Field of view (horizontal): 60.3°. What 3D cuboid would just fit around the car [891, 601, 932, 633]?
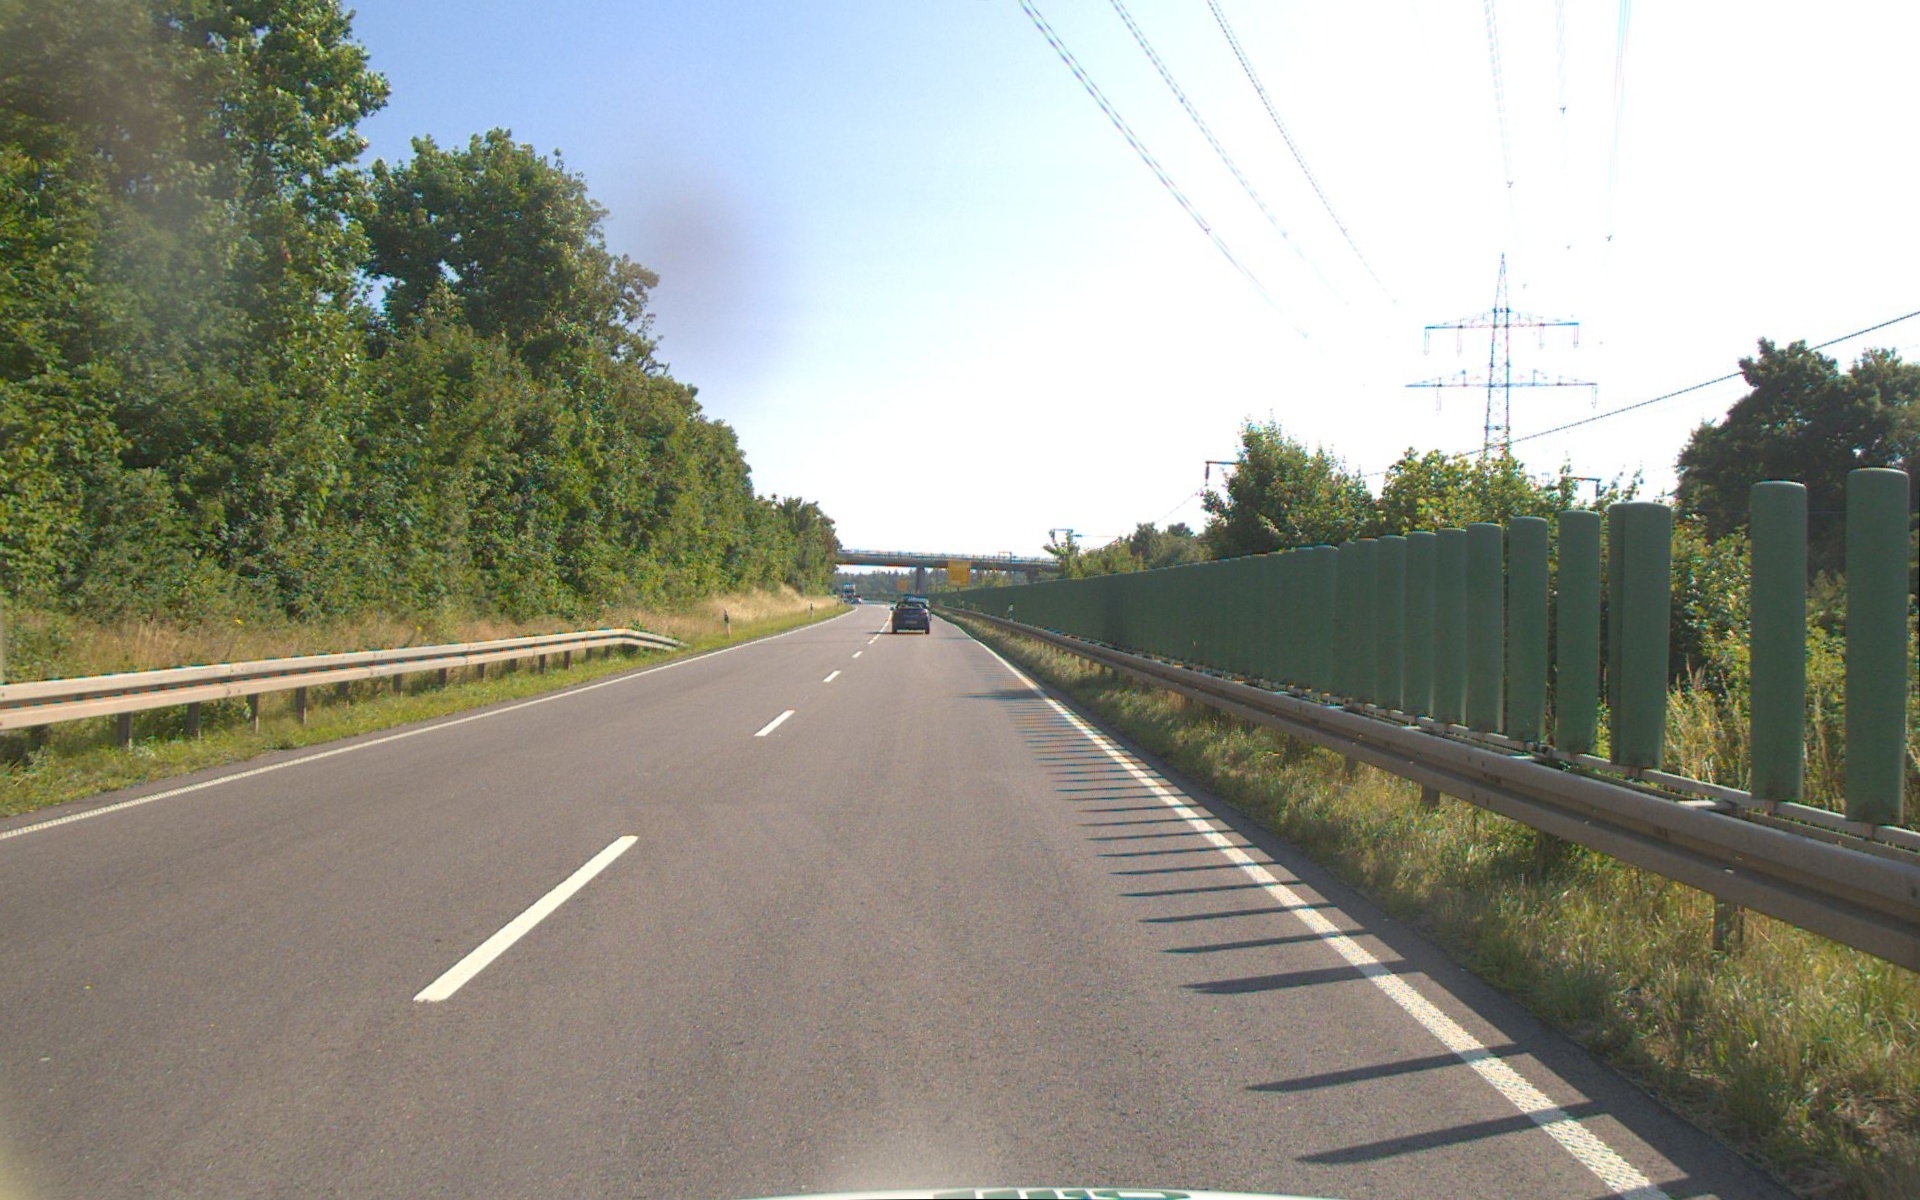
[{"bbox_3d":[-2.094,0.719,70.928,1.630,1.283,3.997,1,0,-4],"label":"car"}]

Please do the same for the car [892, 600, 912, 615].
[{"bbox_3d":[-5.652,0.726,161.199,1.857,1.443,3.997,1,0,-4],"label":"car"}]
